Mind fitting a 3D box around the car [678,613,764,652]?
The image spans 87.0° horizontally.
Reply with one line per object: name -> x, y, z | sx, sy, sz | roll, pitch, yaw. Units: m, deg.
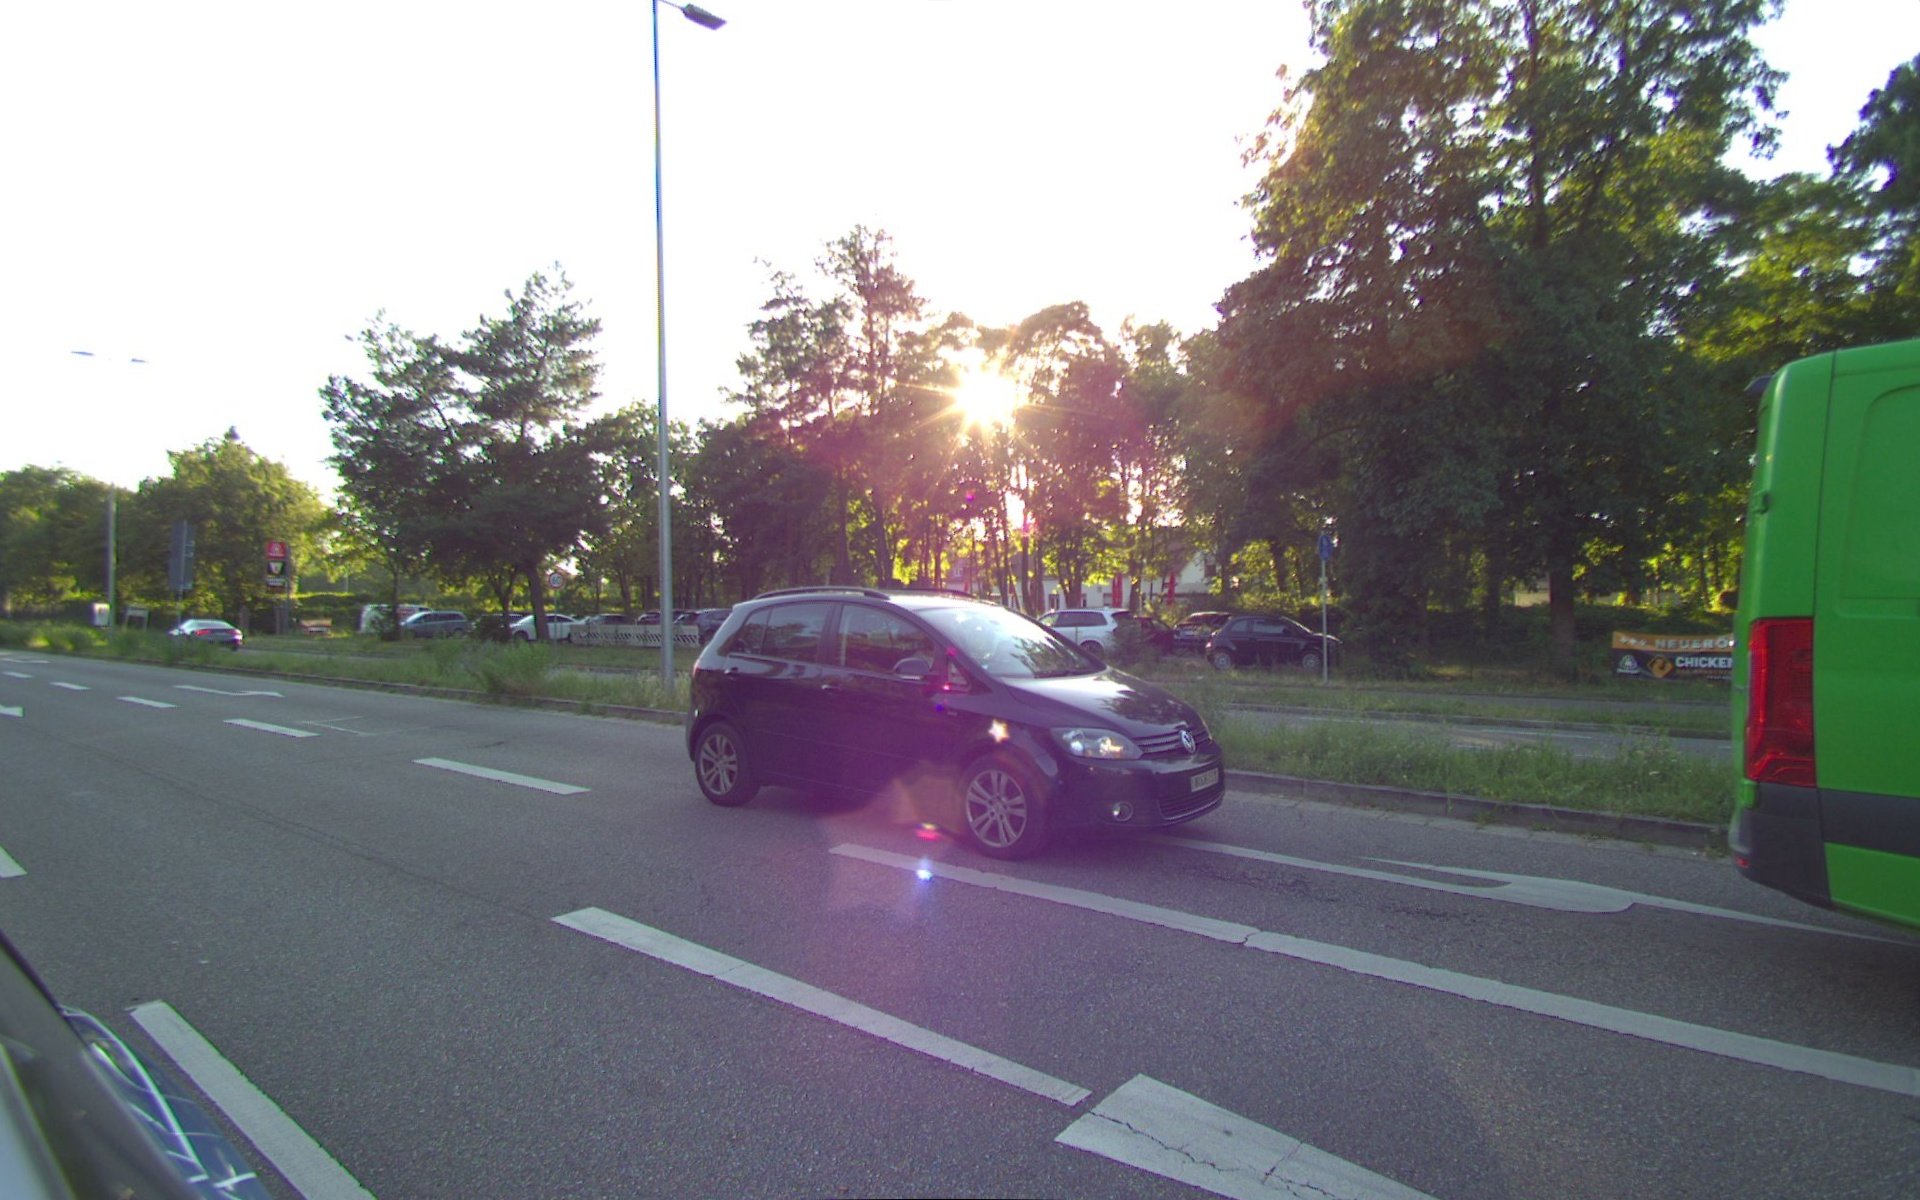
car -> -9.775, 1.331, 41.542 | 1.657, 1.538, 3.060 | -1, -2, 38

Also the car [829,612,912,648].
car -> -4.321, 1.457, 49.055 | 1.765, 1.663, 3.947 | -1, -2, 39

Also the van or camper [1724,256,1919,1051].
van or camper -> 5.469, 0.139, 2.272 | 5.891, 2.439, 1.973 | -1, -2, 40

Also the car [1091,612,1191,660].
car -> 6.822, 1.318, 37.854 | 1.918, 1.663, 3.944 | -1, -2, 42

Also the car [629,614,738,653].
car -> -11.987, 1.426, 44.116 | 1.769, 1.629, 4.470 | -1, -2, 37

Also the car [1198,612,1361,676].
car -> 8.572, 1.152, 27.257 | 3.807, 1.609, 1.838 | -1, -2, 36

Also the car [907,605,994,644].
car -> -0.387, 1.110, 45.120 | 1.765, 1.663, 3.947 | -1, -2, 39

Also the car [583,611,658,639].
car -> -20.498, 1.513, 61.246 | 1.765, 1.663, 3.947 | -1, -2, 40

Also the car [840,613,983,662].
car -> -1.747, 1.291, 35.599 | 4.913, 1.619, 1.975 | -1, -2, 37

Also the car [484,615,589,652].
car -> -20.804, 1.628, 49.852 | 1.908, 1.767, 4.441 | -1, -2, 39

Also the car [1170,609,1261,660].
car -> 8.999, 1.180, 35.451 | 1.914, 1.663, 3.954 | -1, -2, 34

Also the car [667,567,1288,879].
car -> -0.015, 0.660, 7.105 | 3.994, 1.564, 1.974 | -1, -2, 38

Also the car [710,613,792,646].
car -> -10.903, 1.528, 52.956 | 1.765, 1.663, 3.947 | -1, -2, 40

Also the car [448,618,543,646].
car -> -23.158, 1.585, 50.533 | 1.731, 1.322, 3.947 | -1, -2, 39

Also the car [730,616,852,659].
car -> -6.606, 1.421, 39.302 | 4.701, 1.560, 1.975 | -1, -2, 37

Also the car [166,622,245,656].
car -> -33.946, 1.695, 45.492 | 4.496, 1.452, 1.872 | -1, -2, 40

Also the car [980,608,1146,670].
car -> 3.173, 1.182, 31.813 | 4.913, 1.800, 1.975 | -1, -2, 37

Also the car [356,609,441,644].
car -> -32.528, 1.522, 58.691 | 1.764, 1.959, 3.949 | -1, -2, 38

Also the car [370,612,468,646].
car -> -30.236, 1.612, 56.693 | 1.907, 1.811, 4.443 | -1, -2, 38
